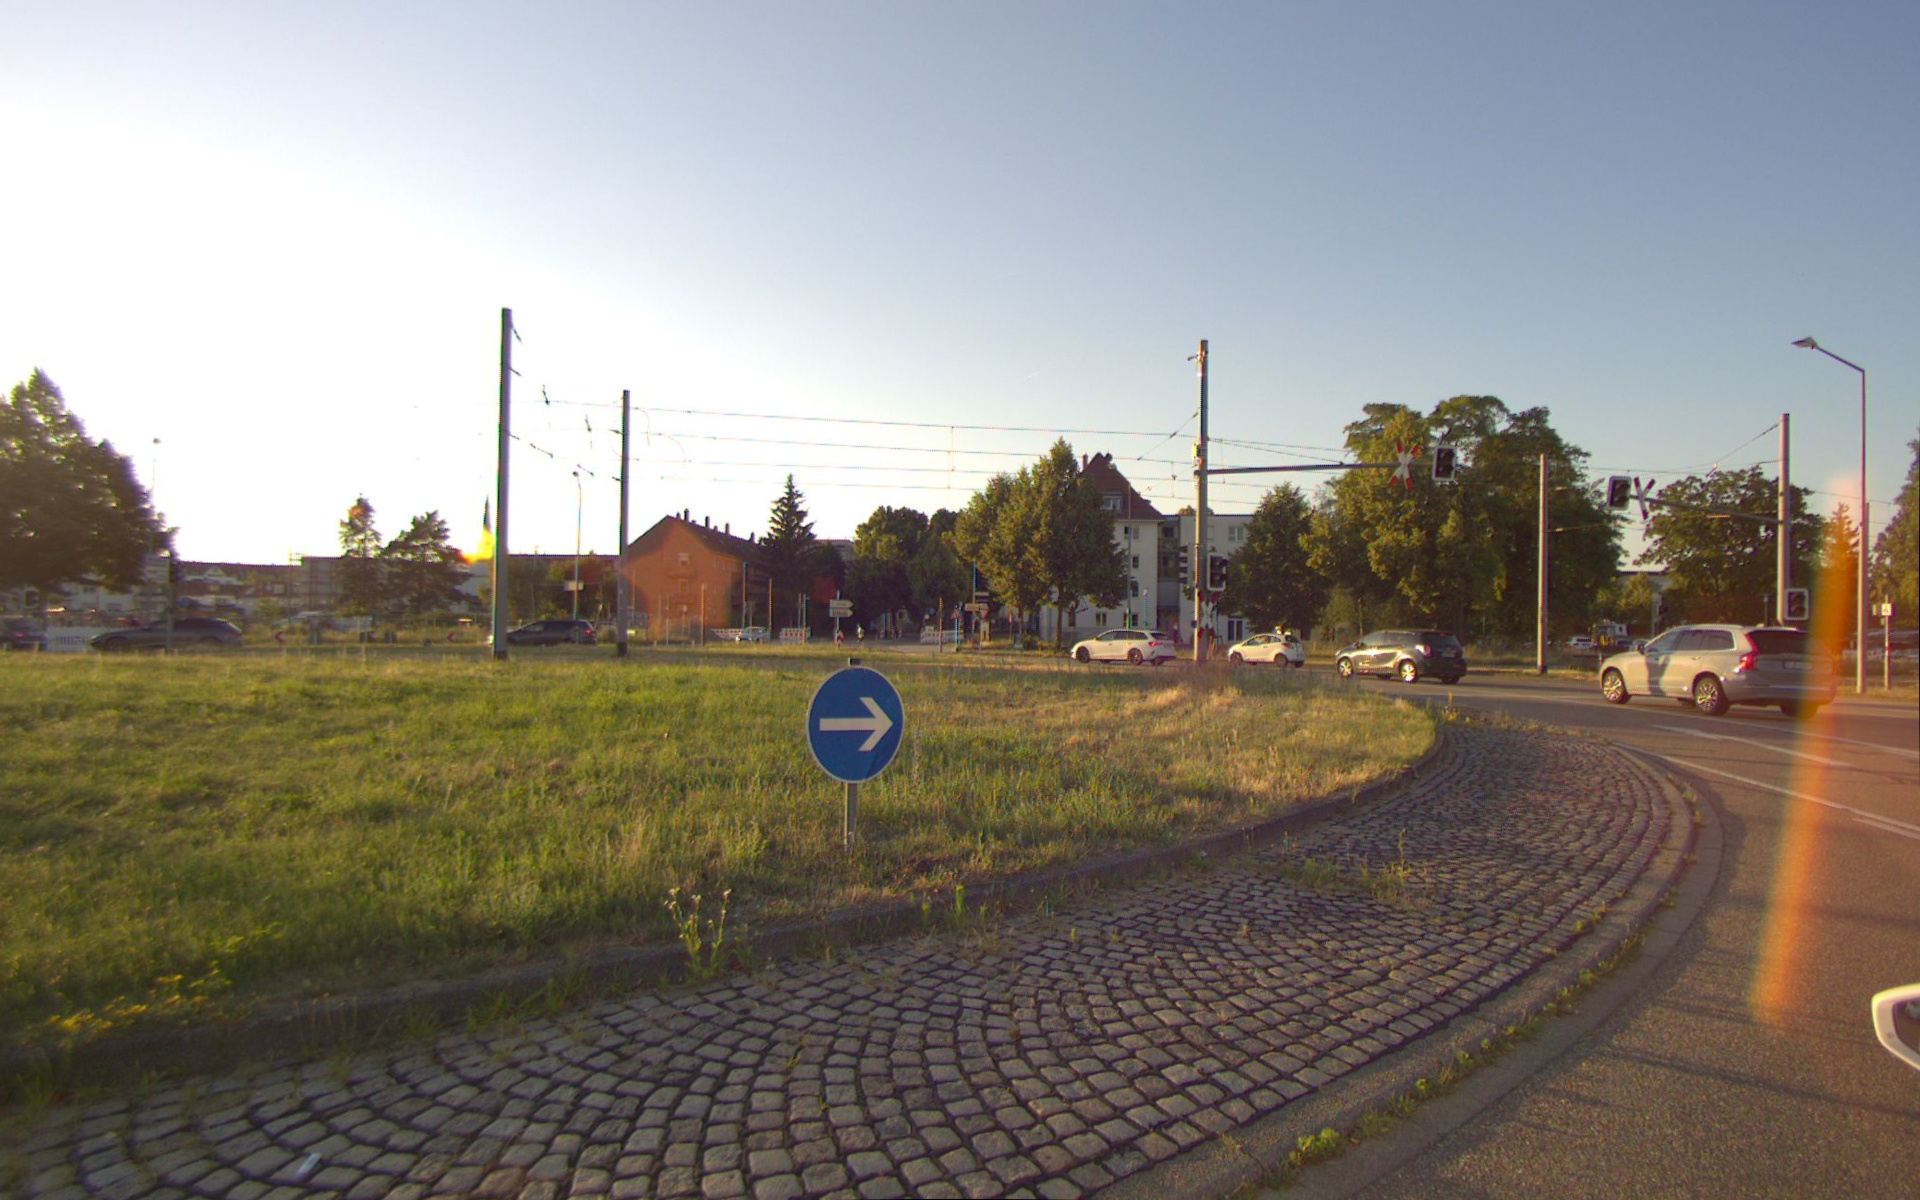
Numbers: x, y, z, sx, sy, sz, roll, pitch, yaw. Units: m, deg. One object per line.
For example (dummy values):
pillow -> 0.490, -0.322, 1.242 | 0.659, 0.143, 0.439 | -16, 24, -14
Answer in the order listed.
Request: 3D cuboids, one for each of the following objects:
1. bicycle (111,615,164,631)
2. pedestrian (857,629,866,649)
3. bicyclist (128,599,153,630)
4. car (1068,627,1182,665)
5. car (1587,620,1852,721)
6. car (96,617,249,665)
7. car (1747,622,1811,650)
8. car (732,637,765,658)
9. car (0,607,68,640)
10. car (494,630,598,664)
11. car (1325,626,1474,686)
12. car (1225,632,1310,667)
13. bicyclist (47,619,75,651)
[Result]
bicycle -> -43.958, 1.221, 53.708 | 2.102, 0.857, 0.510 | 0, -1, -19
pedestrian -> -6.966, 2.764, 70.975 | 0.539, 1.392, 0.357 | 1, -1, -16
bicyclist -> -43.762, 0.768, 53.638 | 0.786, 1.655, 0.693 | 0, -1, -18
car -> 6.768, 1.852, 41.493 | 4.487, 1.468, 1.717 | -1, -1, 44
car -> 15.435, 1.342, 20.856 | 1.884, 1.777, 4.923 | 2, -1, 2
car -> -30.721, 1.571, 39.370 | 4.548, 1.771, 1.736 | 1, -1, -33
car -> 65.930, 2.872, 80.934 | 1.960, 2.126, 4.001 | 1, -1, 2
car -> -16.727, 3.758, 79.614 | 1.596, 1.506, 4.001 | 1, -1, 2
car -> -43.074, 1.049, 45.631 | 4.051, 1.465, 1.753 | 0, -1, 12
car -> -18.389, 2.069, 44.817 | 4.065, 1.486, 1.746 | 0, -1, -15
car -> 13.622, 1.689, 31.449 | 1.775, 1.654, 4.439 | 2, -1, -17
car -> 14.065, 2.247, 46.037 | 1.543, 1.462, 3.443 | 2, -1, -42
bicyclist -> -46.674, 1.804, 52.146 | 0.800, 1.662, 0.814 | 0, -1, 26
